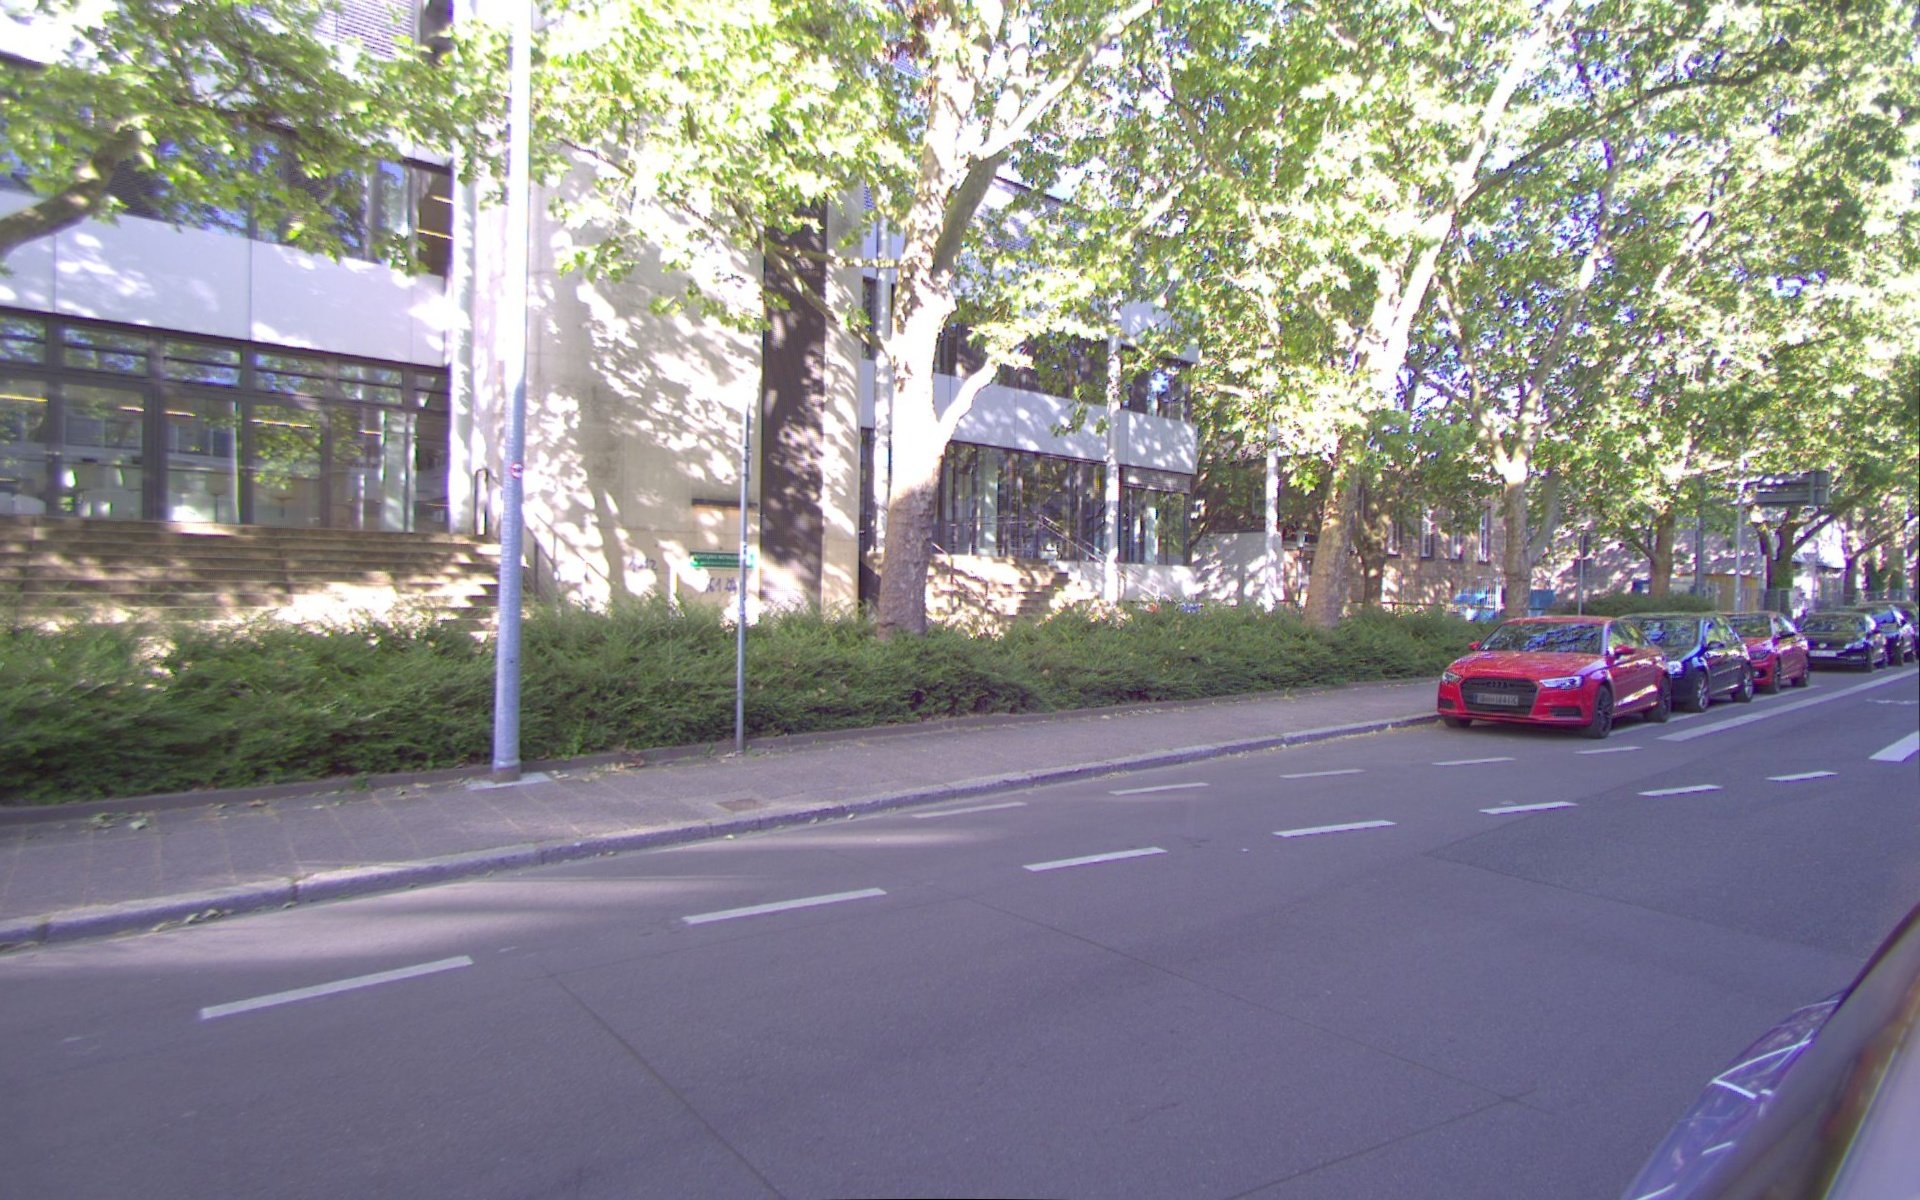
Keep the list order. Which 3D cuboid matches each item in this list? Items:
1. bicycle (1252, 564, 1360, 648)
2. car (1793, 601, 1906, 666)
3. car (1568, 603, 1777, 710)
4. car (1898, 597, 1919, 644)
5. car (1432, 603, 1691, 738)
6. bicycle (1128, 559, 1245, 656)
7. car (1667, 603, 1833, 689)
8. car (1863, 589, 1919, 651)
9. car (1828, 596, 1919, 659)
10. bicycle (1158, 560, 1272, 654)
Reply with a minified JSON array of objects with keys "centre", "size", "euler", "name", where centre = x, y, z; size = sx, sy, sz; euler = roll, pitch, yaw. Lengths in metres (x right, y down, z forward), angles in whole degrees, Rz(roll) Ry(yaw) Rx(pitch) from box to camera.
[{"centre":[8.782,0.108,25.817],"size":[0.729,2.039,2.603],"euler":[1,1,-40],"name":"bicycle"},{"centre":[22.428,0.795,25.481],"size":[3.952,1.523,1.694],"euler":[0,-1,-43],"name":"car"},{"centre":[11.379,0.804,16.072],"size":[3.992,1.485,1.696],"euler":[0,-1,-39],"name":"car"},{"centre":[35.537,0.730,36.830],"size":[4.256,1.648,1.694],"euler":[0,-1,-43],"name":"car"},{"centre":[7.896,0.785,13.108],"size":[4.360,1.468,1.694],"euler":[0,-1,-43],"name":"car"},{"centre":[4.974,0.125,22.385],"size":[0.729,2.039,2.603],"euler":[1,1,-40],"name":"bicycle"},{"centre":[15.382,0.823,19.636],"size":[4.242,1.498,1.696],"euler":[0,-1,-40],"name":"car"},{"centre":[30.379,0.615,32.595],"size":[1.823,1.865,4.825],"euler":[-2,-1,41],"name":"car"},{"centre":[26.247,0.732,28.759],"size":[4.541,1.648,1.778],"euler":[0,-1,-42],"name":"car"},{"centre":[5.798,0.117,23.187],"size":[0.729,2.039,2.603],"euler":[1,1,-40],"name":"bicycle"}]
